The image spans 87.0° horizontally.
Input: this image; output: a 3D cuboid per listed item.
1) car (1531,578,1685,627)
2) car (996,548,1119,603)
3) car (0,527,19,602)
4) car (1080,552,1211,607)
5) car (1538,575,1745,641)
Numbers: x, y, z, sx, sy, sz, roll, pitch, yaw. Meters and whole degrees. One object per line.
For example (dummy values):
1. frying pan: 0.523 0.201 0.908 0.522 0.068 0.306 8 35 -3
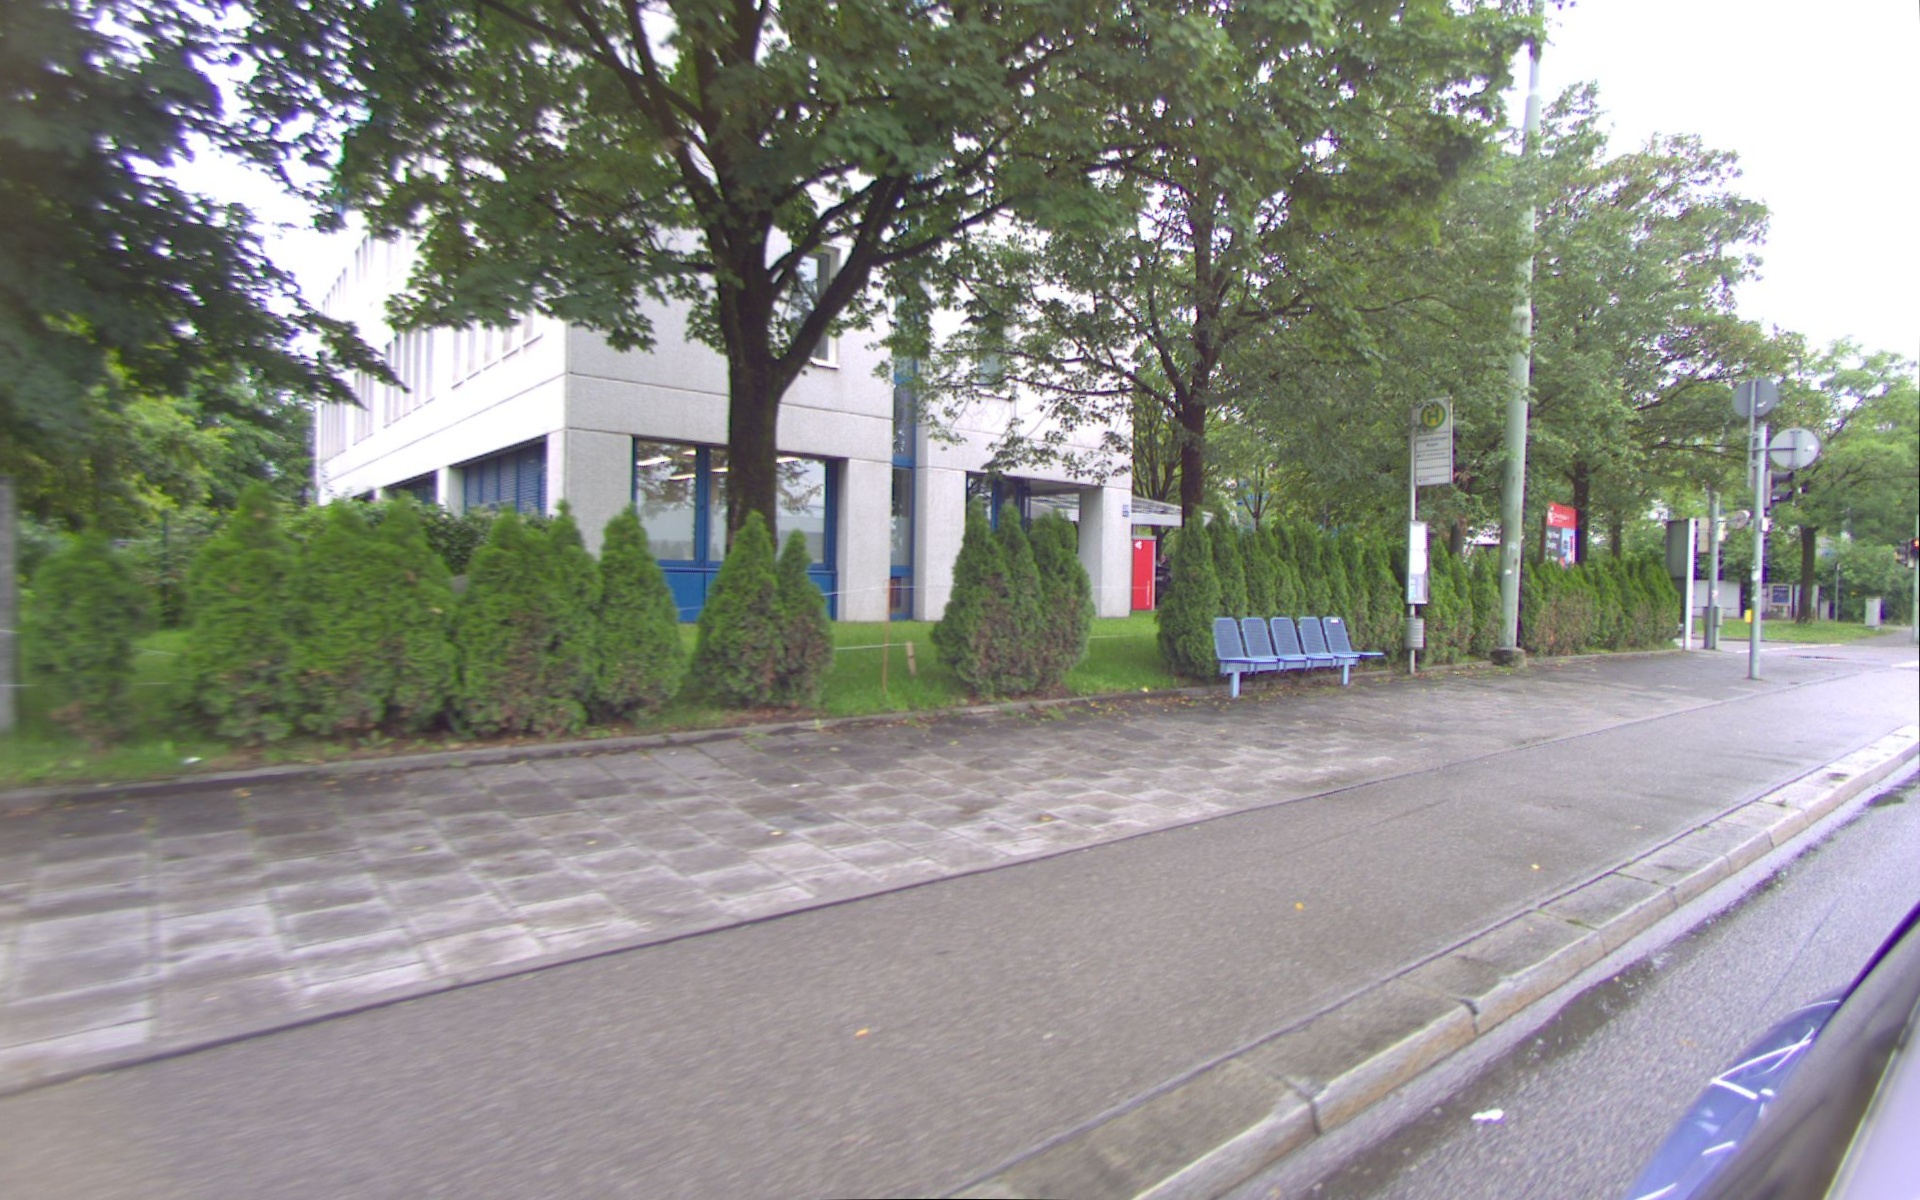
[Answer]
1. car: 23.405 0.040 36.712 1.960 1.594 4.287 -2 2 -30
2. car: 2.762 -0.764 29.631 1.830 1.436 4.187 1 3 -22
3. car: -21.036 -0.801 21.252 1.737 1.502 3.889 0 3 -41
4. car: 5.399 -0.650 30.031 1.830 1.436 4.187 1 3 -22
5. car: 19.613 0.180 29.423 1.958 1.744 4.801 1 1 -16
